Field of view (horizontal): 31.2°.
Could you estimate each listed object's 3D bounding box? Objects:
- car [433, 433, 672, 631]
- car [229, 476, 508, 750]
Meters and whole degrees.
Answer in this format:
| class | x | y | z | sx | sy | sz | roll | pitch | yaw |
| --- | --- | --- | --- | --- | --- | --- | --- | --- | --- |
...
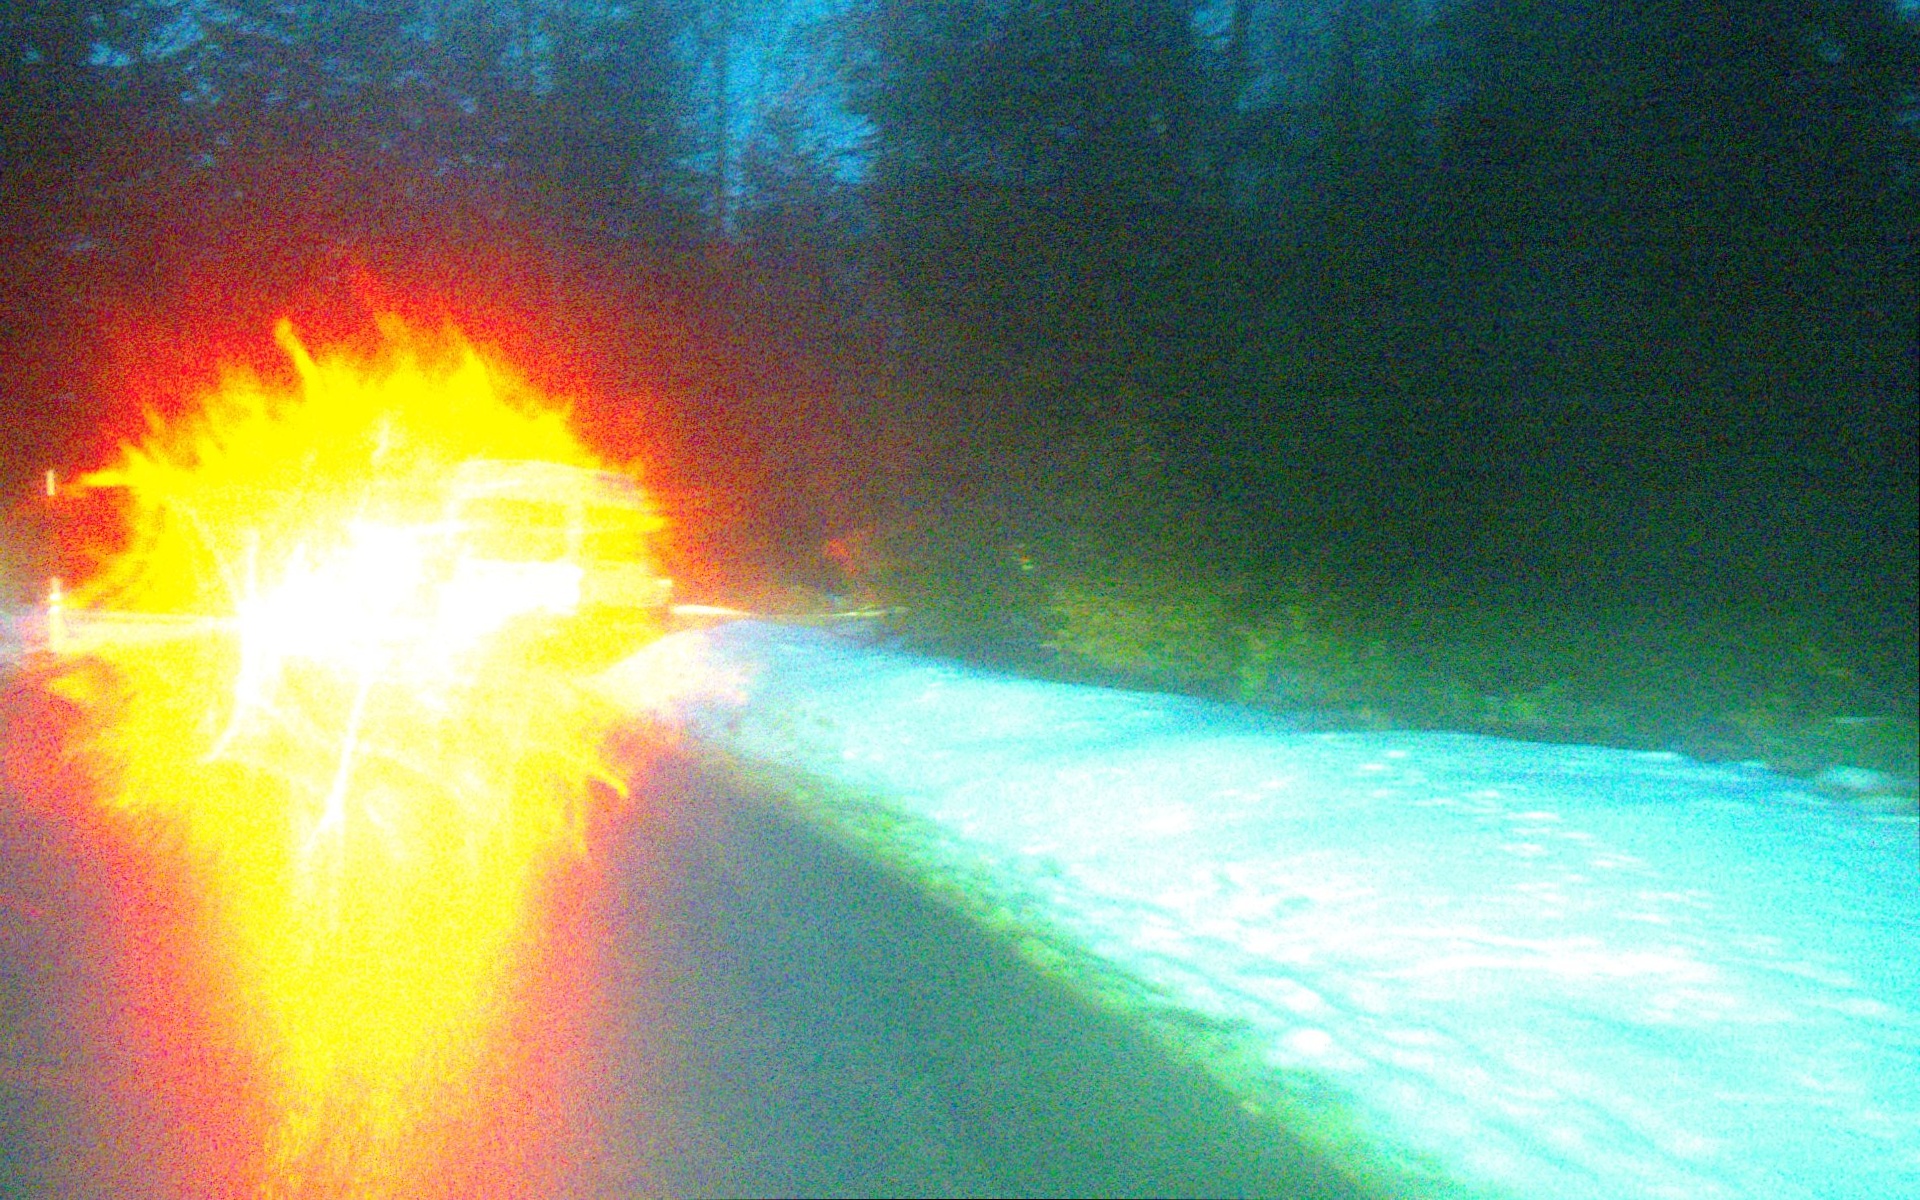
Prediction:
| class | x | y | z | sx | sy | sz | roll | pitch | yaw |
| --- | --- | --- | --- | --- | --- | --- | --- | --- | --- |
| car | -5.696 | -0.957 | 48.715 | 2.253 | 2.636 | 5.005 | 1 | 1 | 6 |
| car | -4.733 | 0.073 | 28.022 | 1.993 | 2.045 | 4.001 | -1 | 1 | -7 |
